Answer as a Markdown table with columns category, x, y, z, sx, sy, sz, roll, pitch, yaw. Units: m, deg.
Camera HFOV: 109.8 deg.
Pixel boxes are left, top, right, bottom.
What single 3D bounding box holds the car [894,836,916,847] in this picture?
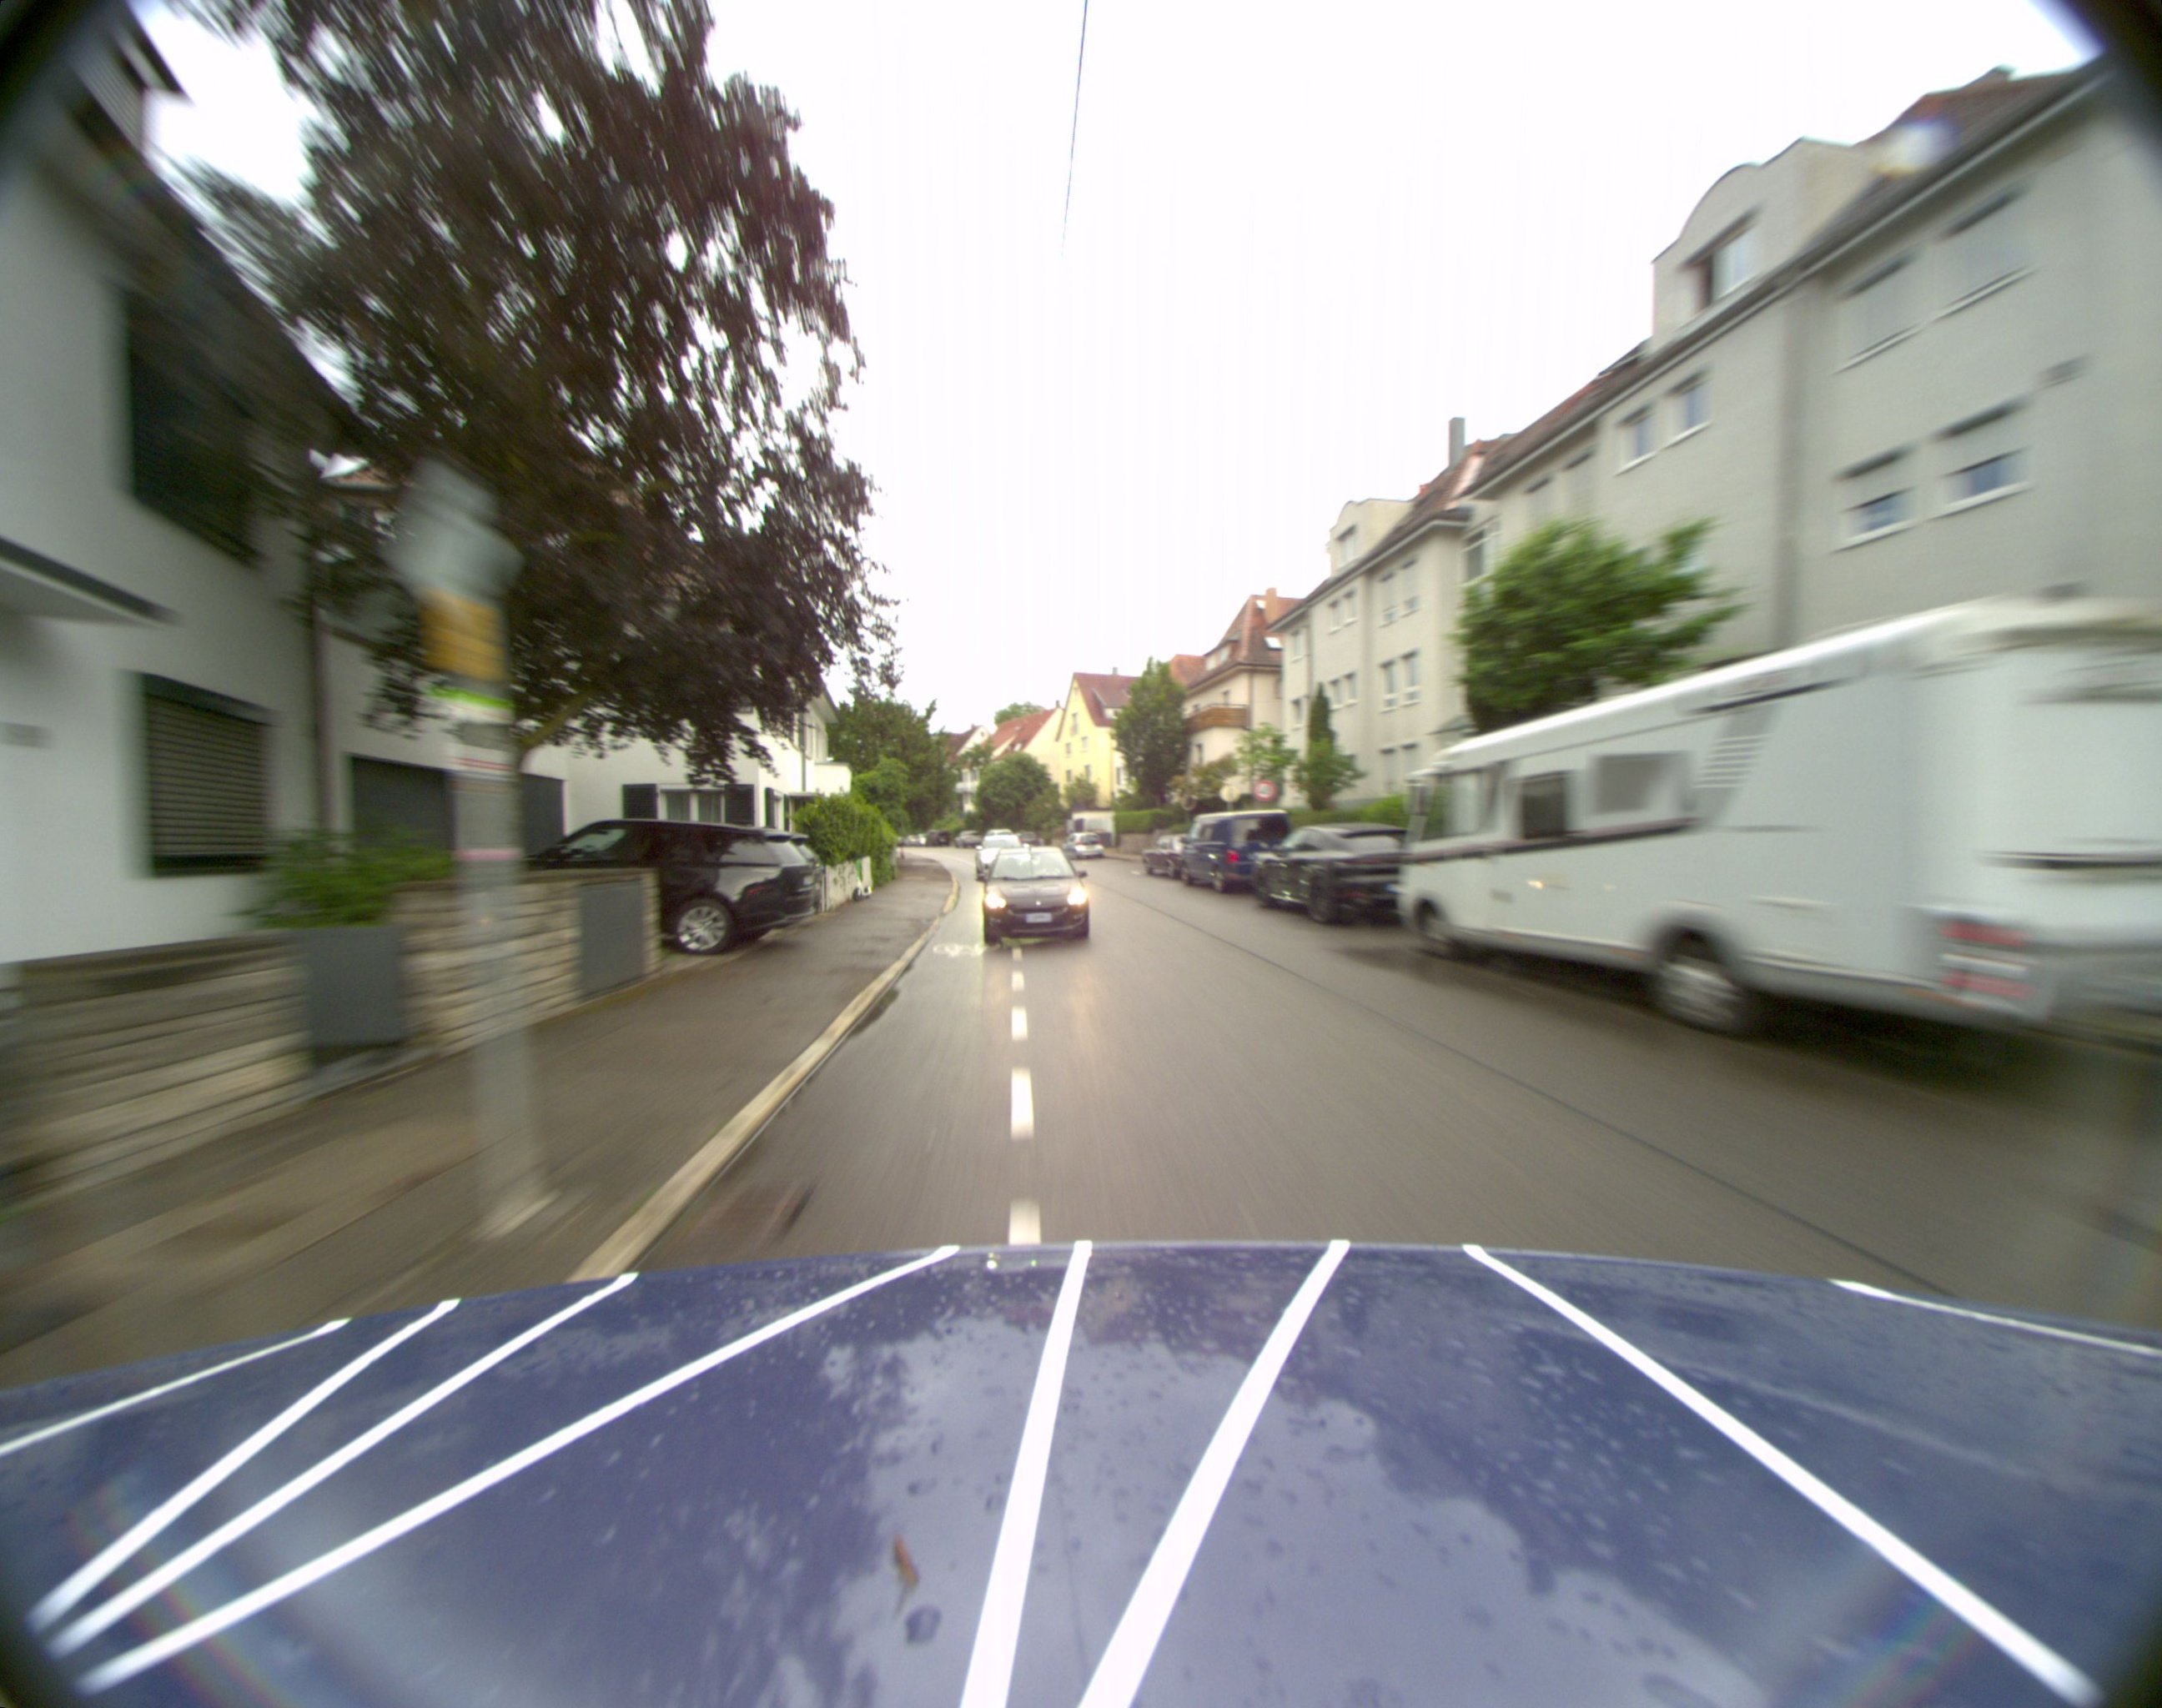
| category | x | y | z | sx | sy | sz | roll | pitch | yaw |
| --- | --- | --- | --- | --- | --- | --- | --- | --- | --- |
| car | -24.249 | -1.744 | 104.613 | 1.683 | 1.365 | 4.426 | -3 | 2 | -32 |

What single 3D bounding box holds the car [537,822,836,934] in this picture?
| category | x | y | z | sx | sy | sz | roll | pitch | yaw |
| --- | --- | --- | --- | --- | --- | --- | --- | --- | --- |
| car | -7.023 | 0.421 | 14.017 | 4.466 | 1.799 | 1.940 | 2 | 1 | -9 |

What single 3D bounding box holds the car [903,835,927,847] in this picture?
| category | x | y | z | sx | sy | sz | roll | pitch | yaw |
| --- | --- | --- | --- | --- | --- | --- | --- | --- | --- |
| car | -21.445 | -1.642 | 97.968 | 1.683 | 1.365 | 4.426 | -3 | 2 | -30 |

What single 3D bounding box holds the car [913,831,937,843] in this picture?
| category | x | y | z | sx | sy | sz | roll | pitch | yaw |
| --- | --- | --- | --- | --- | --- | --- | --- | --- | --- |
| car | -19.119 | -2.032 | 93.040 | 1.683 | 1.365 | 4.426 | -3 | 2 | -28 |

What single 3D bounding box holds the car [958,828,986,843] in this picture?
| category | x | y | z | sx | sy | sz | roll | pitch | yaw |
| --- | --- | --- | --- | --- | --- | --- | --- | --- | --- |
| car | -10.810 | -1.831 | 75.240 | 1.682 | 1.364 | 4.428 | -3 | 2 | -22 |

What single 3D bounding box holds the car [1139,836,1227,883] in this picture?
| category | x | y | z | sx | sy | sz | roll | pitch | yaw |
| --- | --- | --- | --- | --- | --- | --- | --- | --- | --- |
| car | 3.413 | 0.116 | 26.294 | 1.681 | 1.365 | 4.505 | -3 | 2 | -10 |

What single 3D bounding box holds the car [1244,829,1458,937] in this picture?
| category | x | y | z | sx | sy | sz | roll | pitch | yaw |
| --- | --- | --- | --- | --- | --- | --- | --- | --- | --- |
| car | 4.583 | 0.377 | 13.790 | 1.837 | 1.586 | 4.743 | -1 | 1 | -5 |

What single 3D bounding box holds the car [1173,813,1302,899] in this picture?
| category | x | y | z | sx | sy | sz | roll | pitch | yaw |
| --- | --- | --- | --- | --- | --- | --- | --- | --- | --- |
| car | 4.021 | -0.016 | 20.339 | 1.838 | 1.977 | 4.576 | -2 | 2 | -9 |

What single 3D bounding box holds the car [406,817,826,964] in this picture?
| category | x | y | z | sx | sy | sz | roll | pitch | yaw |
| --- | --- | --- | --- | --- | --- | --- | --- | --- | --- |
| car | -6.356 | 0.486 | 10.922 | 4.745 | 1.799 | 1.941 | 2 | 1 | -5 |

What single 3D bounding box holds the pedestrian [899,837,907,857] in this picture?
| category | x | y | z | sx | sy | sz | roll | pitch | yaw |
| --- | --- | --- | --- | --- | --- | --- | --- | --- | --- |
| pedestrian | -11.435 | -0.438 | 48.788 | 0.427 | 1.239 | 0.315 | -1 | 2 | -15 |

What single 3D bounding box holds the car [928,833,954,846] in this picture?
| category | x | y | z | sx | sy | sz | roll | pitch | yaw |
| --- | --- | --- | --- | --- | --- | --- | --- | --- | --- |
| car | -15.953 | -1.660 | 86.350 | 1.683 | 1.365 | 3.876 | -3 | 2 | -28 |

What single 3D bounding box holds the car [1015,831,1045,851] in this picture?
| category | x | y | z | sx | sy | sz | roll | pitch | yaw |
| --- | --- | --- | --- | --- | --- | --- | --- | --- | --- |
| car | -3.908 | -0.980 | 57.507 | 1.681 | 1.365 | 3.436 | -3 | 2 | -13 |

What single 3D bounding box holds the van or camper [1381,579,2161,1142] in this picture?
| category | x | y | z | sx | sy | sz | roll | pitch | yaw |
| --- | --- | --- | --- | --- | --- | --- | --- | --- | --- |
| van or camper | 5.334 | -0.043 | 6.816 | 2.355 | 2.710 | 6.112 | -1 | 1 | -6 |

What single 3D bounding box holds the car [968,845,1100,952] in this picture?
| category | x | y | z | sx | sy | sz | roll | pitch | yaw |
| --- | --- | --- | --- | --- | --- | --- | --- | --- | --- |
| car | -0.848 | 0.631 | 13.025 | 1.899 | 1.456 | 3.679 | -2 | 2 | -5 |

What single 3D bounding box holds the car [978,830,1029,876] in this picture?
| category | x | y | z | sx | sy | sz | roll | pitch | yaw |
| --- | --- | --- | --- | --- | --- | --- | --- | --- | --- |
| car | -3.214 | -0.080 | 30.912 | 1.797 | 1.689 | 3.887 | -3 | 2 | -9 |

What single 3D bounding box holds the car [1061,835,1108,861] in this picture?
| category | x | y | z | sx | sy | sz | roll | pitch | yaw |
| --- | --- | --- | --- | --- | --- | --- | --- | --- | --- |
| car | 0.148 | -0.368 | 43.468 | 1.682 | 1.365 | 3.435 | -3 | 2 | -17 |

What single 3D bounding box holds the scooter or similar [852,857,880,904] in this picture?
| category | x | y | z | sx | sy | sz | roll | pitch | yaw |
| --- | --- | --- | --- | --- | --- | --- | --- | --- | --- |
| scooter or similar | -5.535 | 0.665 | 19.637 | 0.448 | 1.125 | 1.274 | -1 | 2 | -5 |

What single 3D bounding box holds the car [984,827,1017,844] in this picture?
| category | x | y | z | sx | sy | sz | roll | pitch | yaw |
| --- | --- | --- | --- | --- | --- | --- | --- | --- | --- |
| car | -6.995 | -1.559 | 65.830 | 1.682 | 1.364 | 4.428 | 0 | 0 | -22 |
